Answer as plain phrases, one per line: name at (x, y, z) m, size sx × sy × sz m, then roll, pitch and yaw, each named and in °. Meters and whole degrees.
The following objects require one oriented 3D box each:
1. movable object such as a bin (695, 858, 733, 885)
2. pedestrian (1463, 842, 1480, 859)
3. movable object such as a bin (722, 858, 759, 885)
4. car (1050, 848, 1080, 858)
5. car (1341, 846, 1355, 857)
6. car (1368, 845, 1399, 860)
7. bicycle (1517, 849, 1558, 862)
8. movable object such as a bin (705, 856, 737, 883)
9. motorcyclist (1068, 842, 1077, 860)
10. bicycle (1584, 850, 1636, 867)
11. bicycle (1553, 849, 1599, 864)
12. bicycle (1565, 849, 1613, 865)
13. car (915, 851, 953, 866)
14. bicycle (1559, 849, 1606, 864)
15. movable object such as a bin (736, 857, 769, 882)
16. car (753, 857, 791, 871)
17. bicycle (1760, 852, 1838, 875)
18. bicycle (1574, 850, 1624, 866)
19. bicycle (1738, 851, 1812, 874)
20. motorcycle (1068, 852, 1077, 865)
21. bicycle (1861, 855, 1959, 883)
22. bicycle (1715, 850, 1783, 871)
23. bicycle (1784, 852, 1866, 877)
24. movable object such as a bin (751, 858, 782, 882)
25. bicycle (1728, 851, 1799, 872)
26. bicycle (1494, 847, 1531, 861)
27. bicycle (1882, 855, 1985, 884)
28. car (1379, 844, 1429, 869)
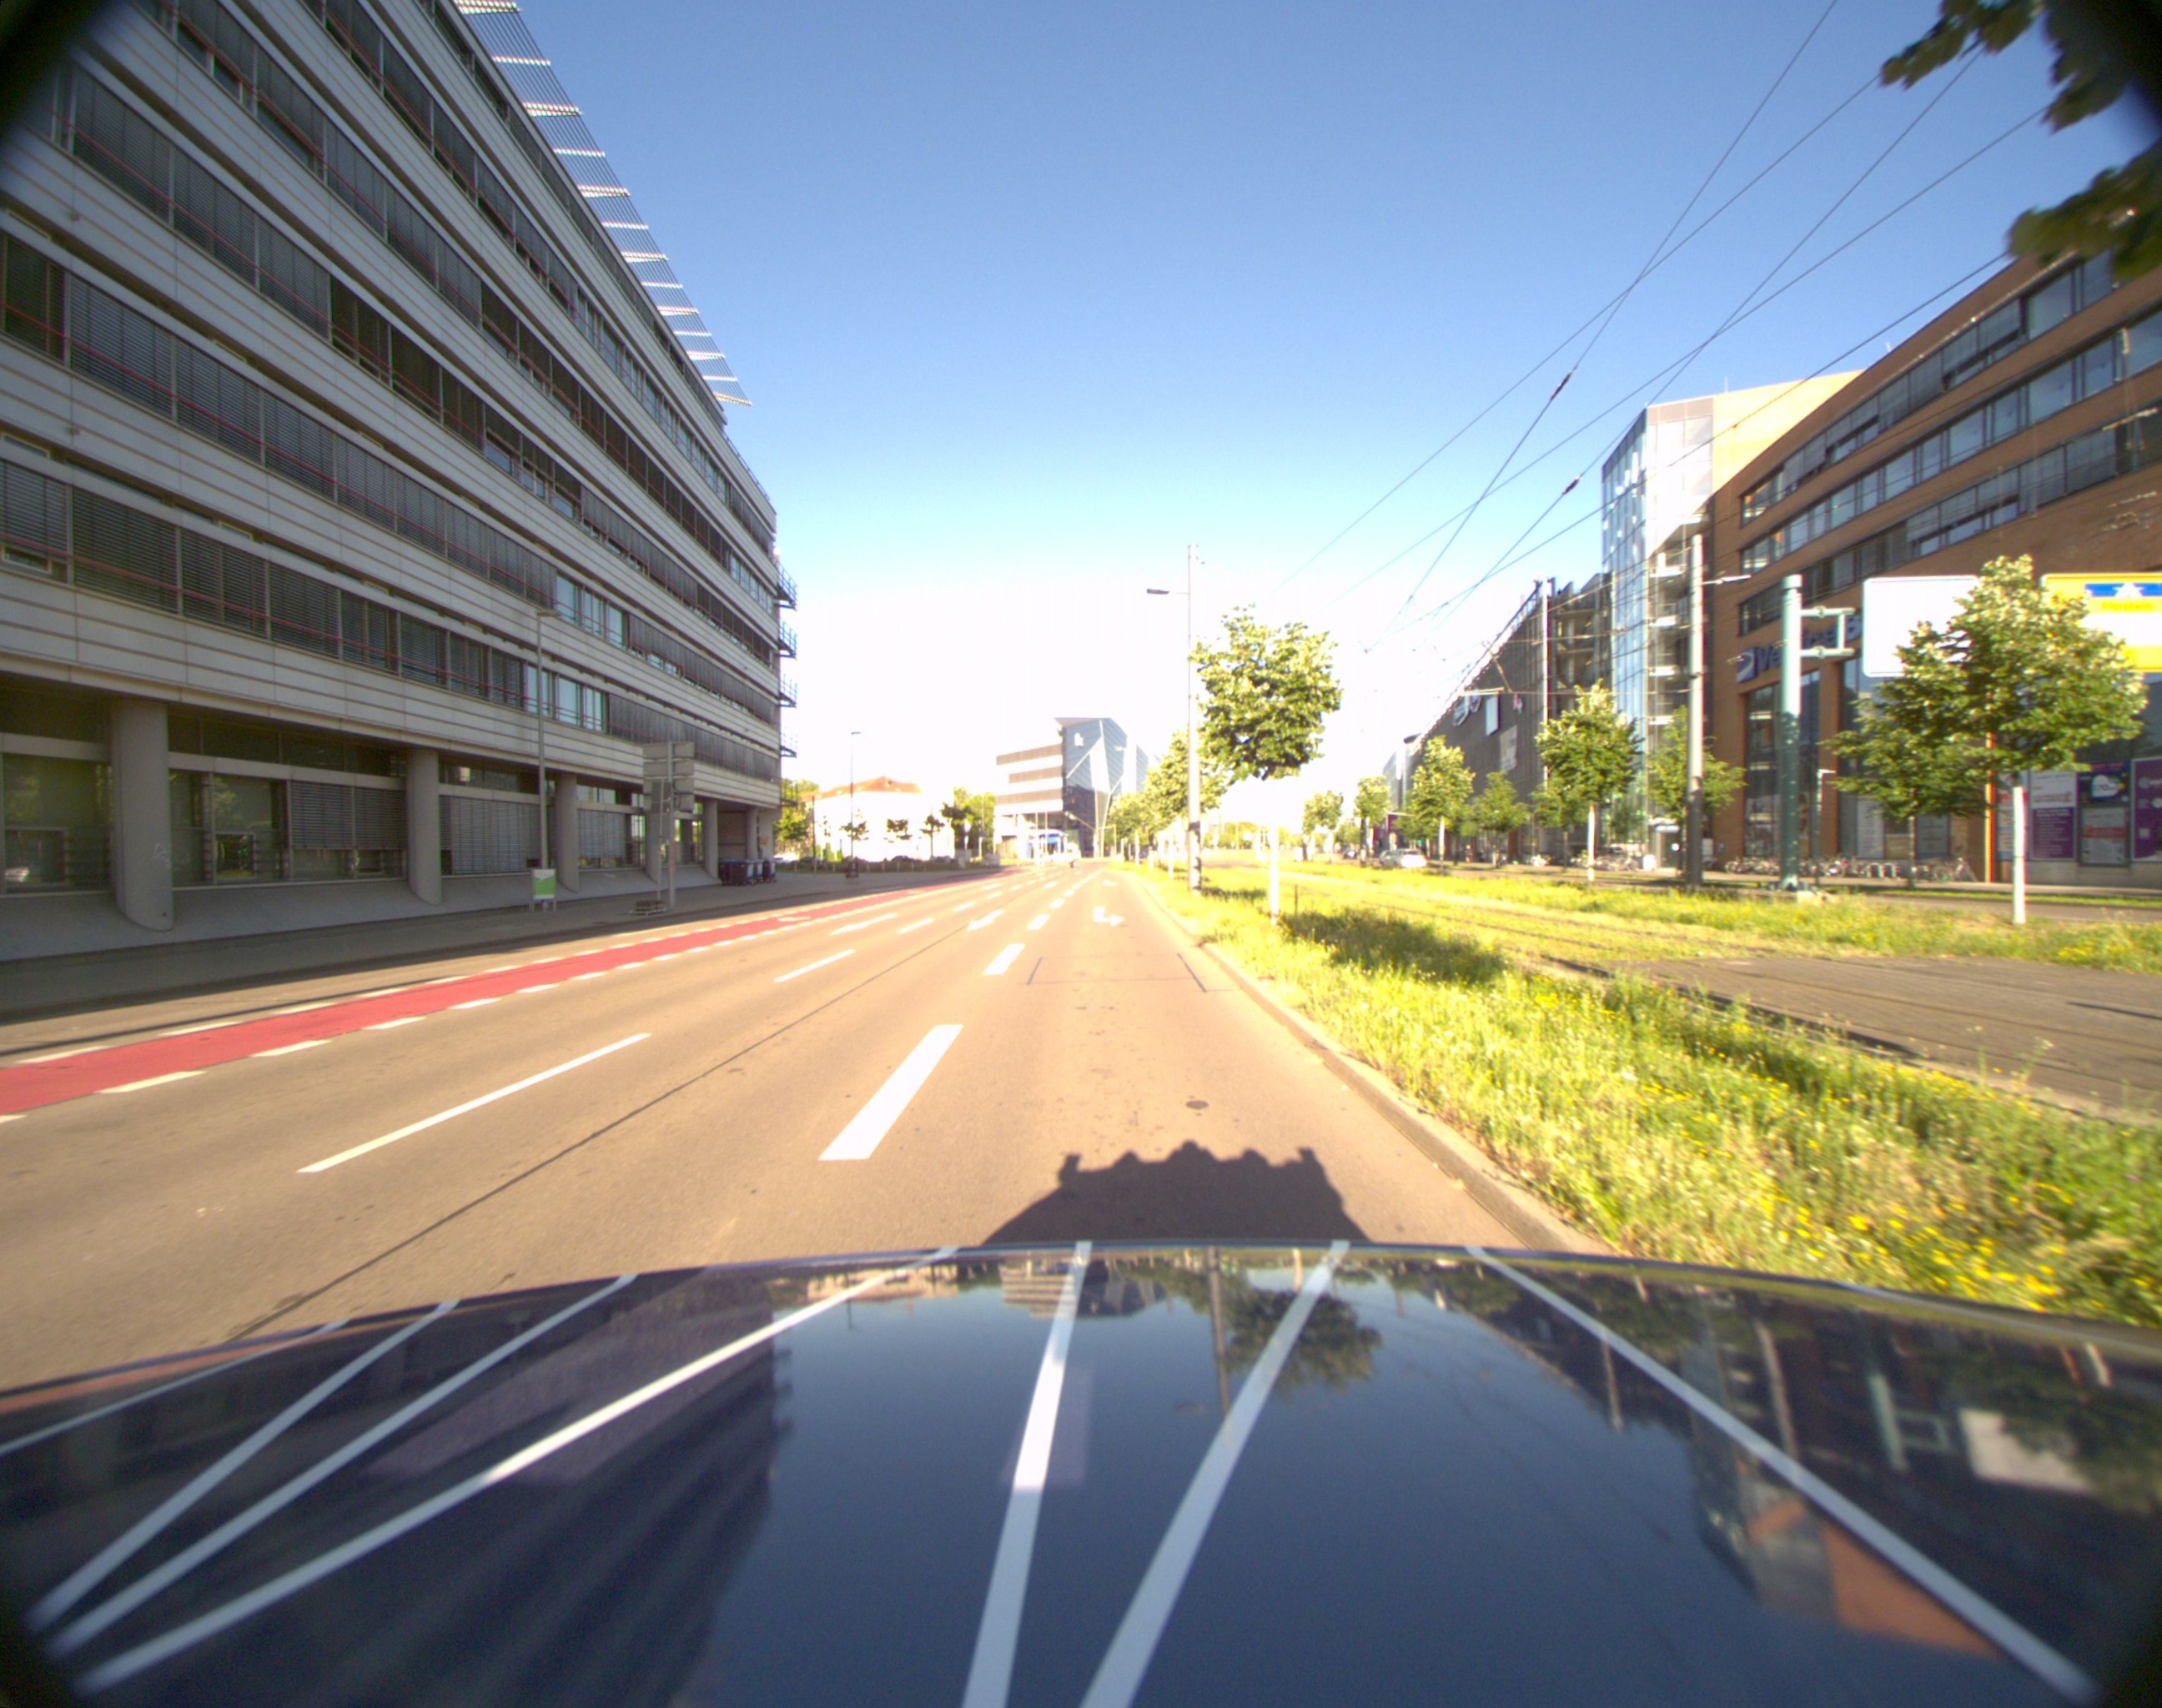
movable object such as a bin at (-18.357, 0.887, 38.049) m, size 1.328 × 1.294 × 1.174 m, roll -1°, pitch 1°, yaw 1°
pedestrian at (39.009, -0.380, 75.868) m, size 1.072 × 1.671 × 1.095 m, roll -1°, pitch 1°, yaw -5°
movable object such as a bin at (-16.995, 0.860, 37.953) m, size 1.328 × 1.294 × 1.174 m, roll -1°, pitch 1°, yaw 1°
car at (-2.460, -0.232, 117.790) m, size 4.344 × 1.519 × 1.681 m, roll 1°, pitch 1°, yaw 24°
car at (38.215, -0.423, 108.936) m, size 1.624 × 1.519 × 4.360 m, roll 1°, pitch 1°, yaw 15°
car at (31.905, -0.153, 80.201) m, size 1.626 × 1.519 × 4.355 m, roll 0°, pitch 1°, yaw 2°
bicycle at (37.104, 0.120, 61.750) m, size 2.687 × 1.097 × 0.897 m, roll 0°, pitch 0°, yaw 11°
movable object such as a bin at (-18.921, 0.815, 39.981) m, size 1.109 × 1.366 × 1.108 m, roll -1°, pitch 1°, yaw 1°
motorcyclist at (-0.871, -0.285, 76.399) m, size 0.821 × 1.846 × 1.112 m, roll 0°, pitch 1°, yaw -2°
bicycle at (35.260, 0.316, 50.661) m, size 2.687 × 1.097 × 0.897 m, roll 0°, pitch 0°, yaw 11°
bicycle at (36.540, 0.183, 56.111) m, size 2.687 × 1.097 × 0.897 m, roll 0°, pitch 0°, yaw 11°
bicycle at (36.256, 0.219, 54.227) m, size 2.687 × 1.097 × 0.897 m, roll 0°, pitch 0°, yaw 11°
car at (-15.118, 0.473, 78.134) m, size 3.790 × 1.523 × 1.744 m, roll 0°, pitch 1°, yaw 37°
bicycle at (36.417, 0.198, 55.201) m, size 2.687 × 1.097 × 0.826 m, roll 0°, pitch 0°, yaw 11°
movable object such as a bin at (-17.795, 0.835, 41.195) m, size 1.173 × 1.294 × 1.329 m, roll -1°, pitch 1°, yaw 1°
car at (-36.108, 1.132, 88.830) m, size 3.794 × 1.523 × 1.742 m, roll -1°, pitch 1°, yaw 13°
bicycle at (34.733, 0.463, 36.777) m, size 2.687 × 1.097 × 0.897 m, roll 0°, pitch 0°, yaw 11°
bicycle at (35.804, 0.264, 52.532) m, size 2.687 × 1.097 × 0.897 m, roll 0°, pitch 0°, yaw 11°
bicycle at (35.069, 0.424, 38.414) m, size 2.687 × 1.097 × 0.897 m, roll 0°, pitch 0°, yaw 11°
motorcycle at (-0.878, 0.426, 76.417) m, size 0.821 × 1.214 × 2.255 m, roll 0°, pitch 1°, yaw -2°
bicycle at (33.626, 0.597, 30.868) m, size 2.687 × 1.097 × 0.897 m, roll 0°, pitch 0°, yaw 11°
bicycle at (35.831, 0.370, 40.796) m, size 2.687 × 1.097 × 0.897 m, roll 0°, pitch 0°, yaw 11°
bicycle at (34.655, 0.488, 35.439) m, size 2.687 × 1.097 × 0.897 m, roll 0°, pitch 0°, yaw 11°
movable object such as a bin at (-17.595, 0.874, 42.538) m, size 1.173 × 1.294 × 1.329 m, roll -1°, pitch 1°, yaw 1°
bicycle at (35.587, 0.396, 39.636) m, size 2.687 × 1.097 × 0.897 m, roll 0°, pitch 0°, yaw 11°
bicycle at (38.180, -0.013, 67.312) m, size 2.687 × 1.182 × 0.897 m, roll 0°, pitch 0°, yaw 11°
bicycle at (33.423, 0.596, 29.841) m, size 2.687 × 1.097 × 0.897 m, roll 0°, pitch 0°, yaw 11°
car at (21.042, 0.141, 49.757) m, size 1.625 × 1.519 × 4.804 m, roll -1°, pitch 1°, yaw 5°
